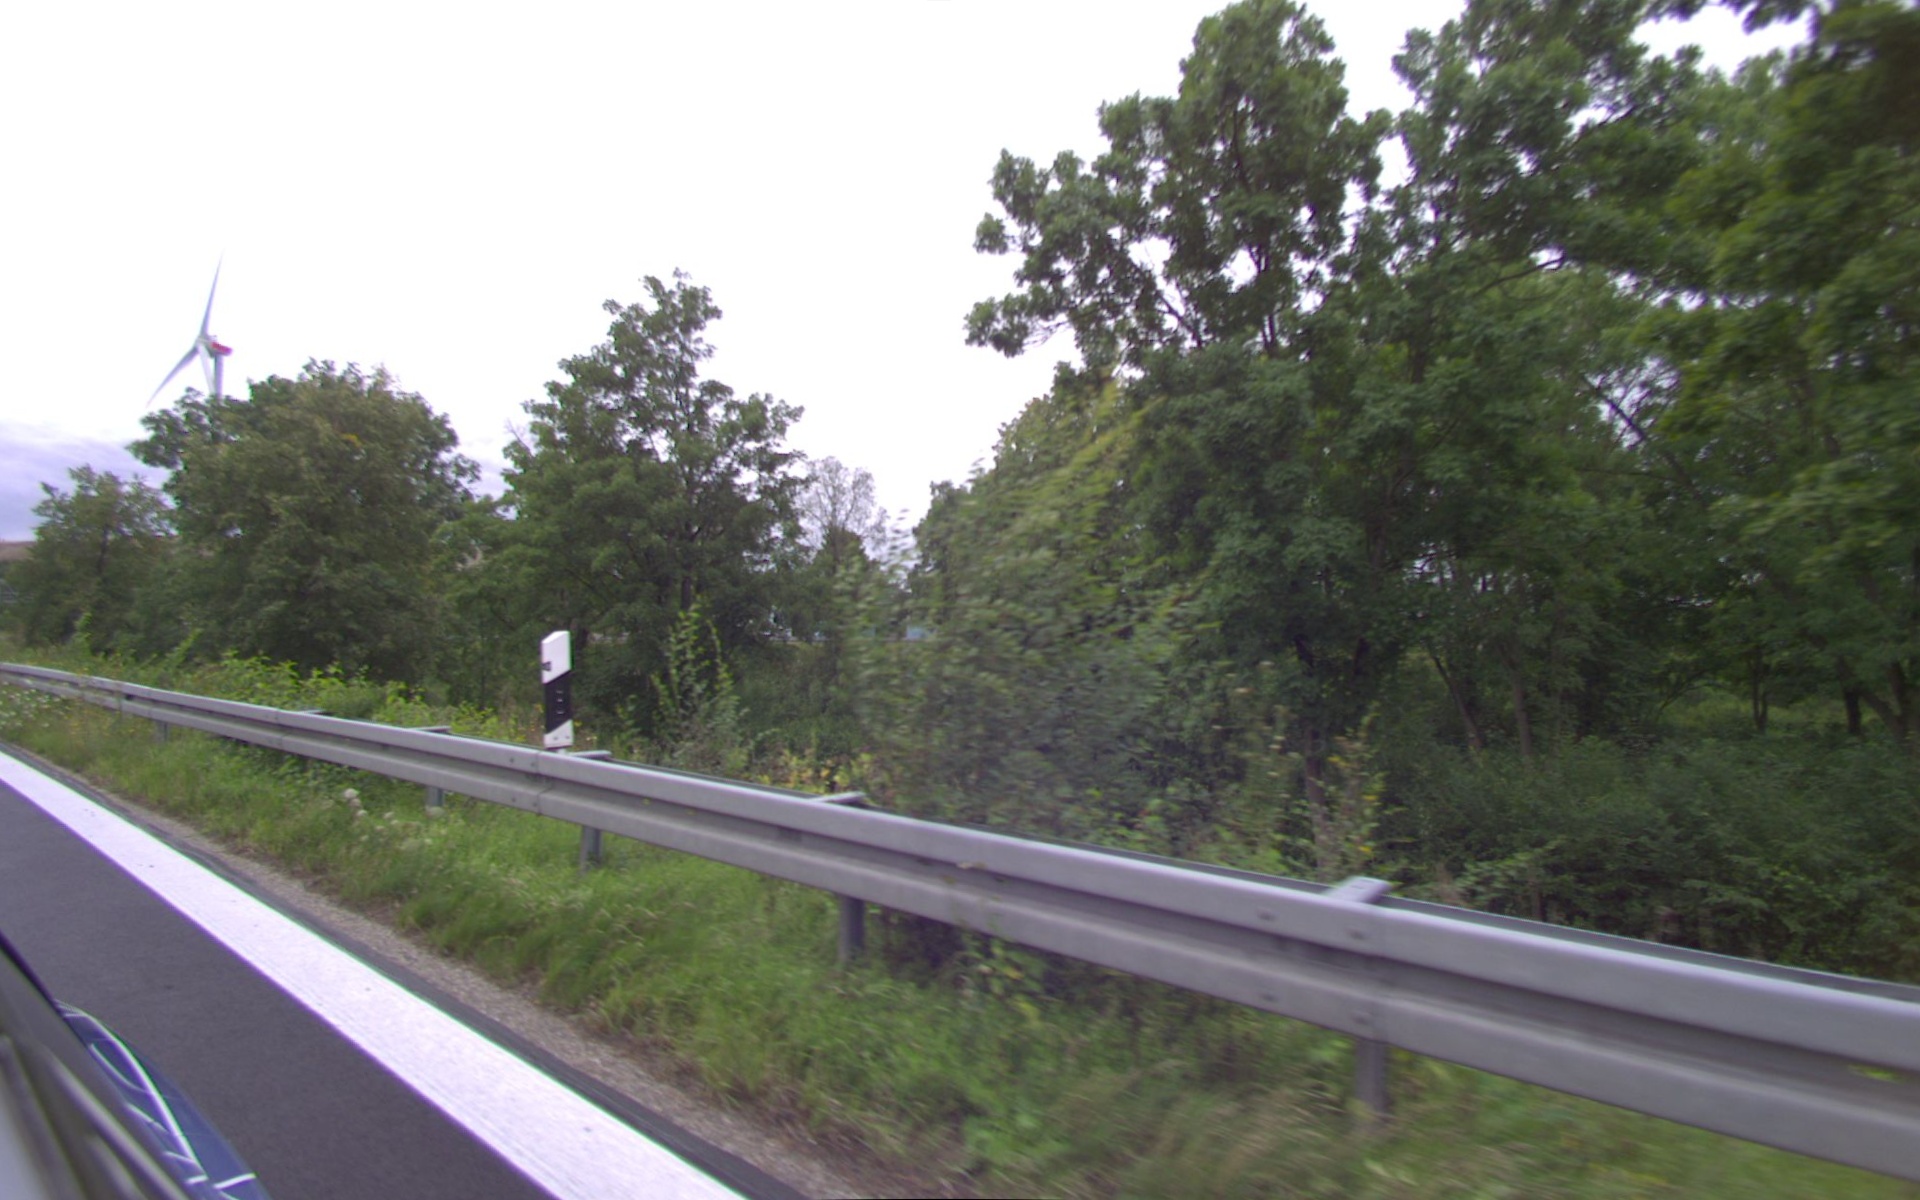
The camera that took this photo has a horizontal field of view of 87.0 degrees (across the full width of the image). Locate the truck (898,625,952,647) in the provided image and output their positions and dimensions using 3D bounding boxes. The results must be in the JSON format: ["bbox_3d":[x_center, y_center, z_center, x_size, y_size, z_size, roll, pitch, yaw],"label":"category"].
[{"bbox_3d":[-4.329,4.434,124.827,6.375,2.649,2.599,0,-2,8],"label":"truck"}]

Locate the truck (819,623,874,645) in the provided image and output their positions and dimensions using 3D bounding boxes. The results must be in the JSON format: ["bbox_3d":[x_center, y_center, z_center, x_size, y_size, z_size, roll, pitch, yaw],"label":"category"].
[{"bbox_3d":[-14.026,4.246,125.187,6.372,2.649,2.249,0,-2,6],"label":"truck"}]

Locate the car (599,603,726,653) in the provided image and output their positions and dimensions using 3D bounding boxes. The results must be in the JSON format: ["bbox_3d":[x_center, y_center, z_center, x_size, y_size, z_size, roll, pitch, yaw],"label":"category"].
[{"bbox_3d":[-29.063,2.712,98.992,11.584,4.768,3.114,0,-2,5],"label":"car"}]
